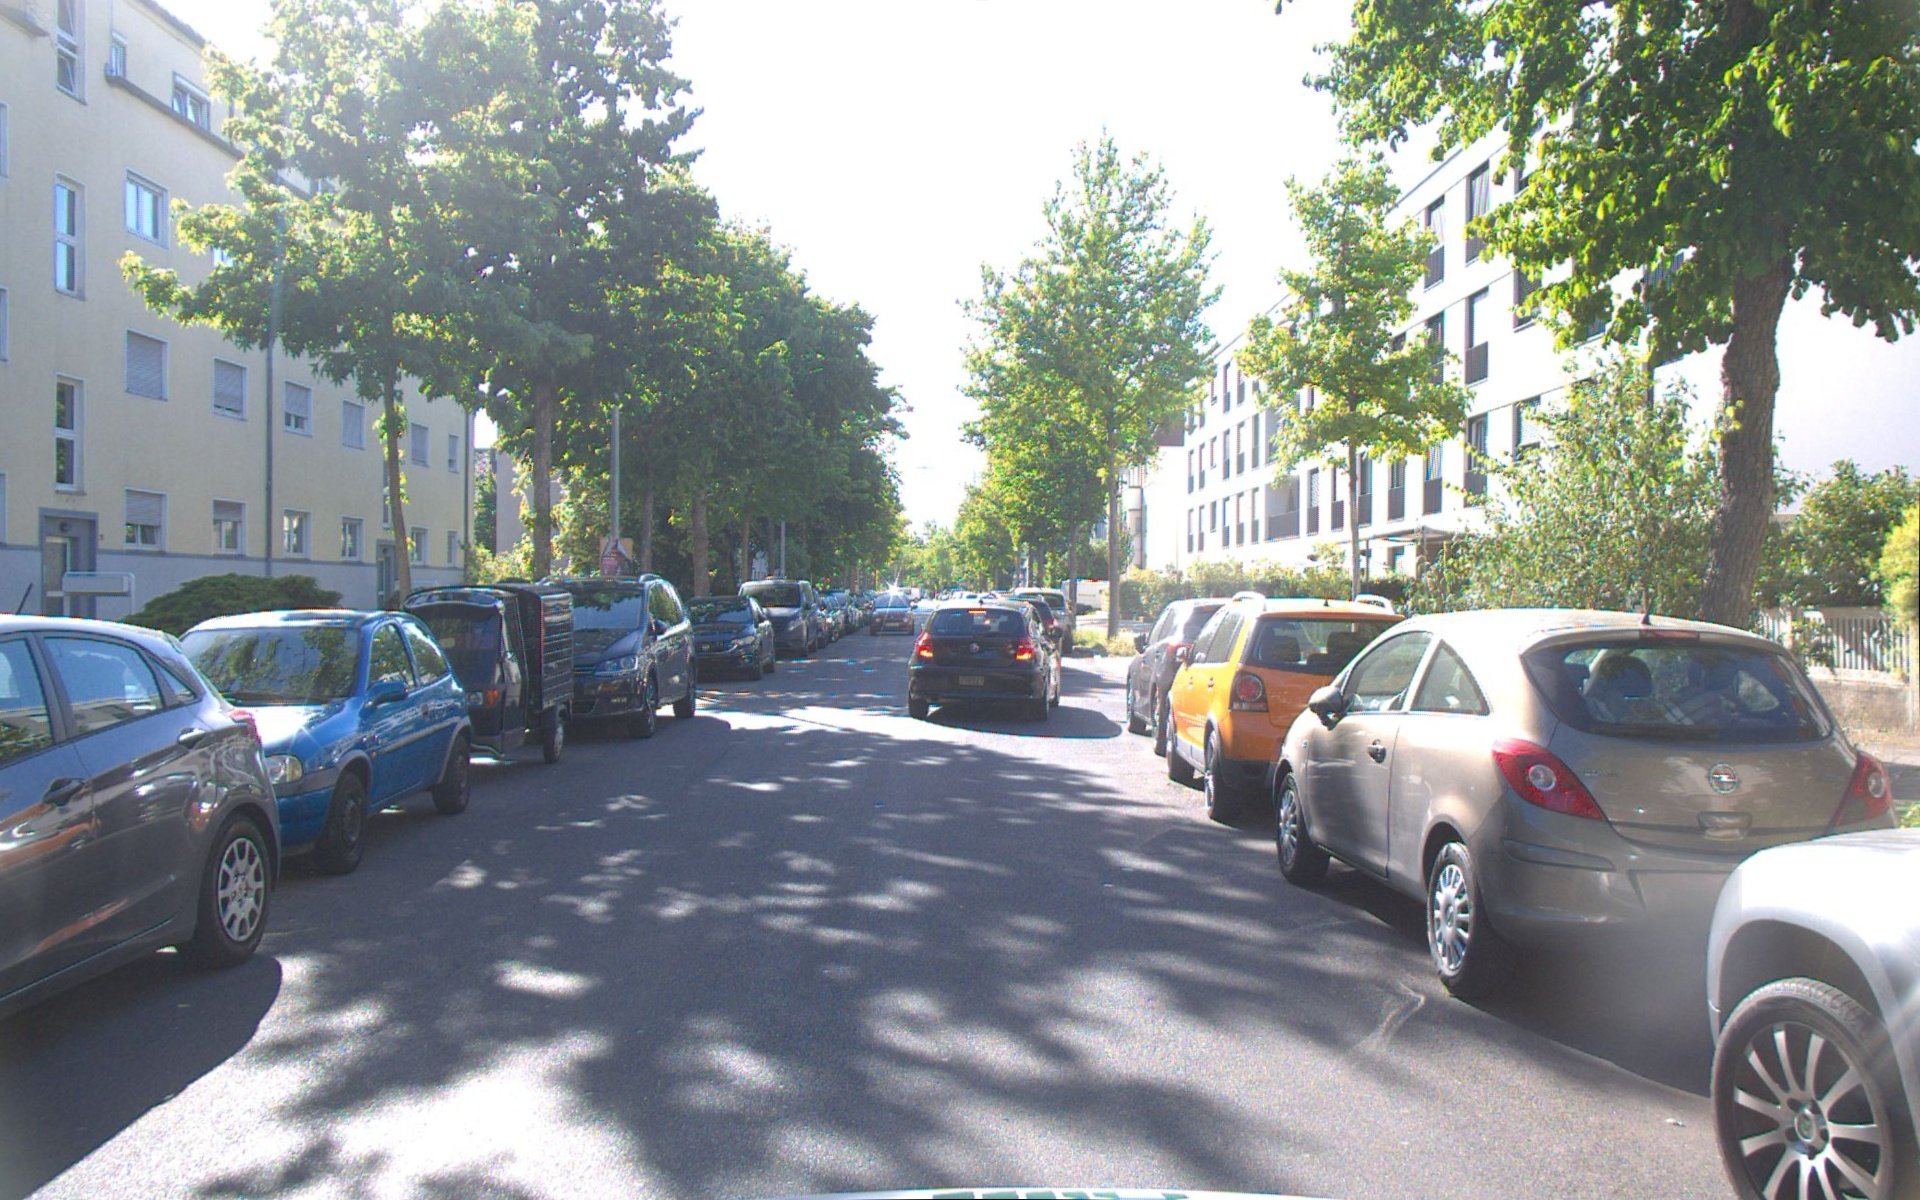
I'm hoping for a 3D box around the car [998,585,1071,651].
[{"bbox_3d":[1.964,0.469,44.622,1.810,1.659,4.410,1,0,0],"label":"car"}]

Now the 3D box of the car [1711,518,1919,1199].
[{"bbox_3d":[2.922,0.677,2.509,1.616,1.684,3.844,0,0,-4],"label":"car"}]

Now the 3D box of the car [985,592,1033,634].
[{"bbox_3d":[1.885,0.487,64.750,1.686,1.555,4.000,2,0,0],"label":"car"}]

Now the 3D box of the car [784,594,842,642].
[{"bbox_3d":[-4.618,0.540,52.325,1.579,1.452,4.056,-1,0,-2],"label":"car"}]

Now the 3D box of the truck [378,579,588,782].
[{"bbox_3d":[-4.046,0.626,14.302,1.061,1.605,2.432,0,0,1],"label":"truck"}]

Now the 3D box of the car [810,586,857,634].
[{"bbox_3d":[-4.782,0.356,62.857,1.579,1.708,4.233,-1,0,-2],"label":"car"}]

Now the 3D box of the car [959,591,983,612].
[{"bbox_3d":[0.832,0.107,125.939,1.685,1.506,3.852,-1,0,2],"label":"car"}]

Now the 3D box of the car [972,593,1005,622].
[{"bbox_3d":[1.528,0.383,90.657,1.686,1.506,3.851,2,0,0],"label":"car"}]

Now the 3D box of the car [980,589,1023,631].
[{"bbox_3d":[1.753,0.406,70.755,1.686,1.669,3.851,2,0,0],"label":"car"}]

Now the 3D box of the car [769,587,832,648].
[{"bbox_3d":[-4.496,0.463,47.019,1.580,1.639,4.227,-1,0,-3],"label":"car"}]

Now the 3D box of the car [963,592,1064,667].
[{"bbox_3d":[1.071,0.579,34.832,1.617,1.450,3.997,0,0,-5],"label":"car"}]

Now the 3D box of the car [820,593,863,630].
[{"bbox_3d":[-4.874,0.464,68.559,1.579,1.478,3.864,-1,0,-2],"label":"car"}]

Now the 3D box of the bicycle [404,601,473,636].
[{"bbox_3d":[-15.548,0.549,49.361,1.886,1.009,0.595,0,0,-9],"label":"bicycle"}]

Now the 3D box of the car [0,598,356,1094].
[{"bbox_3d":[-3.766,0.766,5.438,1.755,1.469,4.688,-2,0,1],"label":"car"}]

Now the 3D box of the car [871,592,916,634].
[{"bbox_3d":[-2.395,0.454,59.799,1.474,1.451,3.178,-1,0,0],"label":"car"}]

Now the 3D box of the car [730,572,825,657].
[{"bbox_3d":[-4.476,0.333,41.323,1.789,1.938,5.141,-1,0,0],"label":"car"}]

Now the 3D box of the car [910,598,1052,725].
[{"bbox_3d":[0.198,0.698,20.648,1.616,1.421,3.410,-1,0,-2],"label":"car"}]

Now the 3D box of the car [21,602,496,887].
[{"bbox_3d":[-4.085,0.733,10.275,1.490,1.419,3.725,0,0,-2],"label":"car"}]

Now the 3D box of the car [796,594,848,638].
[{"bbox_3d":[-4.765,0.541,57.416,1.579,1.452,3.724,-1,0,-2],"label":"car"}]

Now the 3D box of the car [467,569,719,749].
[{"bbox_3d":[-4.012,0.566,18.934,1.812,1.710,4.975,-3,0,-1],"label":"car"}]

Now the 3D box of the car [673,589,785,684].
[{"bbox_3d":[-4.228,0.627,30.886,1.477,1.575,4.777,-2,0,-1],"label":"car"}]

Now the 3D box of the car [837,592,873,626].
[{"bbox_3d":[-5.045,0.424,80.079,1.579,1.570,3.864,-1,0,-2],"label":"car"}]

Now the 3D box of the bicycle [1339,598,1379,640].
[{"bbox_3d":[10.455,0.496,43.399,0.535,1.073,1.690,-1,0,-4],"label":"bicycle"}]

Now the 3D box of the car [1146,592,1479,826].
[{"bbox_3d":[2.498,0.689,12.683,1.603,1.480,4.099,0,0,-1],"label":"car"}]

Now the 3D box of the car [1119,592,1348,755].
[{"bbox_3d":[2.712,0.661,17.253,1.666,1.474,4.082,-1,0,-1],"label":"car"}]

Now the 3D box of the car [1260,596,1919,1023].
[{"bbox_3d":[2.603,0.727,7.622,1.616,1.453,3.610,-1,0,-3],"label":"car"}]
